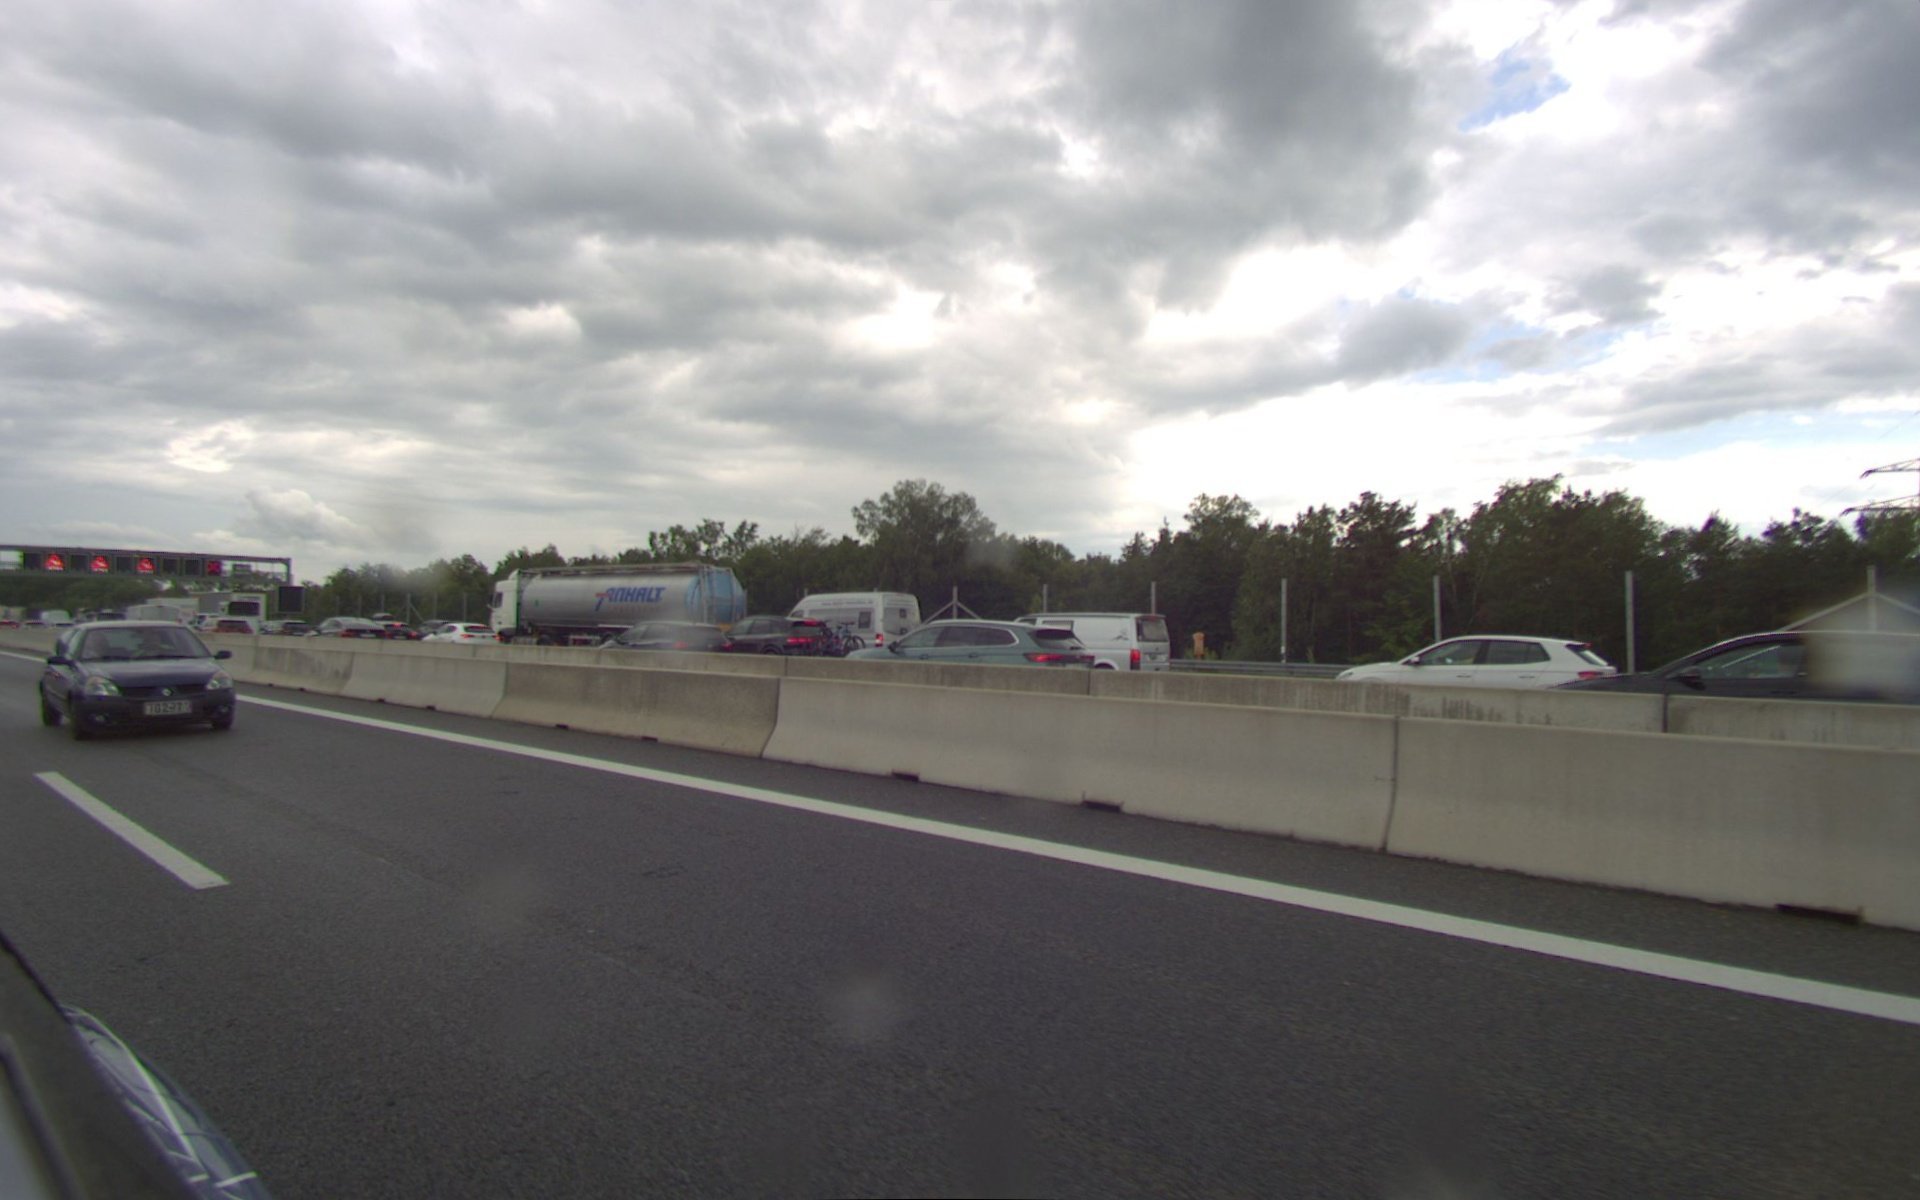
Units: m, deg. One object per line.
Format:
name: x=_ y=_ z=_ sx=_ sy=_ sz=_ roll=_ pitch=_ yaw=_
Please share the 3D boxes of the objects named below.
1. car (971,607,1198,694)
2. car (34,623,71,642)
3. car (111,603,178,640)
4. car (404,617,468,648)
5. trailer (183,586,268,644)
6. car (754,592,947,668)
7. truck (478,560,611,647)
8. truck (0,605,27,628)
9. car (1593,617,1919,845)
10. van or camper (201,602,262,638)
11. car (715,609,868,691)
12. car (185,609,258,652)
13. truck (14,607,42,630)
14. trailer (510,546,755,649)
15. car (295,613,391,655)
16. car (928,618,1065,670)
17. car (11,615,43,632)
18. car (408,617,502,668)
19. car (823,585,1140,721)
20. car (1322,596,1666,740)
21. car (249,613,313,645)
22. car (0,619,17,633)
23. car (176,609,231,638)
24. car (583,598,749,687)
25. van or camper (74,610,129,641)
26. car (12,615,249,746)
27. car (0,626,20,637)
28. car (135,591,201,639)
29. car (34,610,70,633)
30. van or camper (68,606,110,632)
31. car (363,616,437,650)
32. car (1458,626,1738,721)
car: x=3.029 y=1.197 z=25.472 sx=5.436 sy=1.952 sz=2.094 roll=-2 pitch=-1 yaw=41
car: x=-72.627 y=2.605 z=80.972 sx=4.931 sy=1.504 sz=1.625 roll=-2 pitch=-1 yaw=41
car: x=-46.490 y=1.245 z=57.642 sx=5.628 sy=1.984 sz=2.073 roll=-2 pitch=-1 yaw=41
car: x=-27.189 y=1.663 z=52.471 sx=3.998 sy=1.514 sz=1.576 roll=-1 pitch=-1 yaw=41
trailer: x=-66.523 y=1.432 z=91.490 sx=13.283 sy=4.893 sz=3.115 roll=-2 pitch=-1 yaw=40
car: x=-3.567 y=0.927 z=31.760 sx=6.615 sy=2.166 sz=2.094 roll=-2 pitch=-1 yaw=41
truck: x=-18.341 y=0.226 z=44.490 sx=6.796 sy=3.540 sz=2.700 roll=-2 pitch=-1 yaw=41
truck: x=-171.287 y=3.008 z=182.857 sx=10.751 sy=3.870 sz=2.868 roll=-2 pitch=-3 yaw=41
car: x=8.708 y=1.161 z=9.870 sx=3.998 sy=1.952 sz=2.094 roll=-2 pitch=-1 yaw=41
van or camper: x=-46.596 y=1.270 z=64.696 sx=4.968 sy=2.202 sz=2.073 roll=-2 pitch=-1 yaw=41
car: x=-4.505 y=1.267 z=26.783 sx=3.998 sy=1.968 sz=1.874 roll=-2 pitch=-1 yaw=41
car: x=-35.633 y=1.427 z=48.762 sx=4.803 sy=1.984 sz=1.843 roll=-1 pitch=-1 yaw=41
truck: x=-151.593 y=3.089 z=164.534 sx=7.801 sy=3.564 sz=2.438 roll=-2 pitch=-3 yaw=40
trailer: x=-13.439 y=0.072 z=40.230 sx=13.603 sy=3.553 sz=2.682 roll=-2 pitch=-1 yaw=41
car: x=-23.663 y=1.264 z=38.727 sx=4.970 sy=1.495 sz=1.746 roll=-1 pitch=-1 yaw=41
car: x=1.115 y=1.346 z=32.080 sx=3.998 sy=1.542 sz=1.973 roll=-1 pitch=-1 yaw=41
car: x=-85.609 y=2.164 z=92.862 sx=4.391 sy=1.509 sz=1.740 roll=-2 pitch=-1 yaw=41
car: x=-20.966 y=1.717 z=41.895 sx=5.040 sy=1.984 sz=1.708 roll=-2 pitch=-1 yaw=41
car: x=0.213 y=0.805 z=17.051 sx=5.212 sy=1.952 sz=2.094 roll=-2 pitch=-1 yaw=41
car: x=8.290 y=0.959 z=15.935 sx=4.424 sy=1.952 sz=2.094 roll=-2 pitch=-1 yaw=41
car: x=-37.361 y=1.557 z=55.674 sx=4.424 sy=1.673 sz=1.844 roll=-1 pitch=-1 yaw=41
car: x=-101.309 y=2.713 z=107.076 sx=4.390 sy=1.449 sz=1.740 roll=-2 pitch=-1 yaw=40
car: x=-50.970 y=1.575 z=68.130 sx=5.662 sy=1.838 sz=1.839 roll=-2 pitch=-1 yaw=41
car: x=-7.158 y=0.979 z=24.421 sx=4.210 sy=1.968 sz=1.874 roll=-2 pitch=-1 yaw=41
van or camper: x=-58.973 y=1.703 z=69.448 sx=6.343 sy=2.029 sz=1.973 roll=-1 pitch=-1 yaw=41
car: x=-11.118 y=0.926 z=13.422 sx=5.016 sy=1.418 sz=1.757 roll=-1 pitch=-1 yaw=43
car: x=-122.036 y=4.021 z=129.639 sx=5.125 sy=1.368 sz=1.780 roll=-2 pitch=-2 yaw=40
car: x=-58.201 y=1.133 z=74.332 sx=7.623 sy=3.325 sz=2.472 roll=-2 pitch=-1 yaw=41
car: x=-100.041 y=2.404 z=111.485 sx=6.061 sy=2.507 sz=2.180 roll=-2 pitch=-2 yaw=40
van or camper: x=-99.698 y=2.224 z=115.859 sx=6.206 sy=2.869 sz=2.558 roll=-2 pitch=-2 yaw=39
car: x=-27.059 y=1.562 z=48.840 sx=4.350 sy=1.514 sz=1.781 roll=-1 pitch=-1 yaw=41
car: x=11.323 y=1.220 z=18.107 sx=3.998 sy=1.463 sz=1.848 roll=-1 pitch=-1 yaw=41
